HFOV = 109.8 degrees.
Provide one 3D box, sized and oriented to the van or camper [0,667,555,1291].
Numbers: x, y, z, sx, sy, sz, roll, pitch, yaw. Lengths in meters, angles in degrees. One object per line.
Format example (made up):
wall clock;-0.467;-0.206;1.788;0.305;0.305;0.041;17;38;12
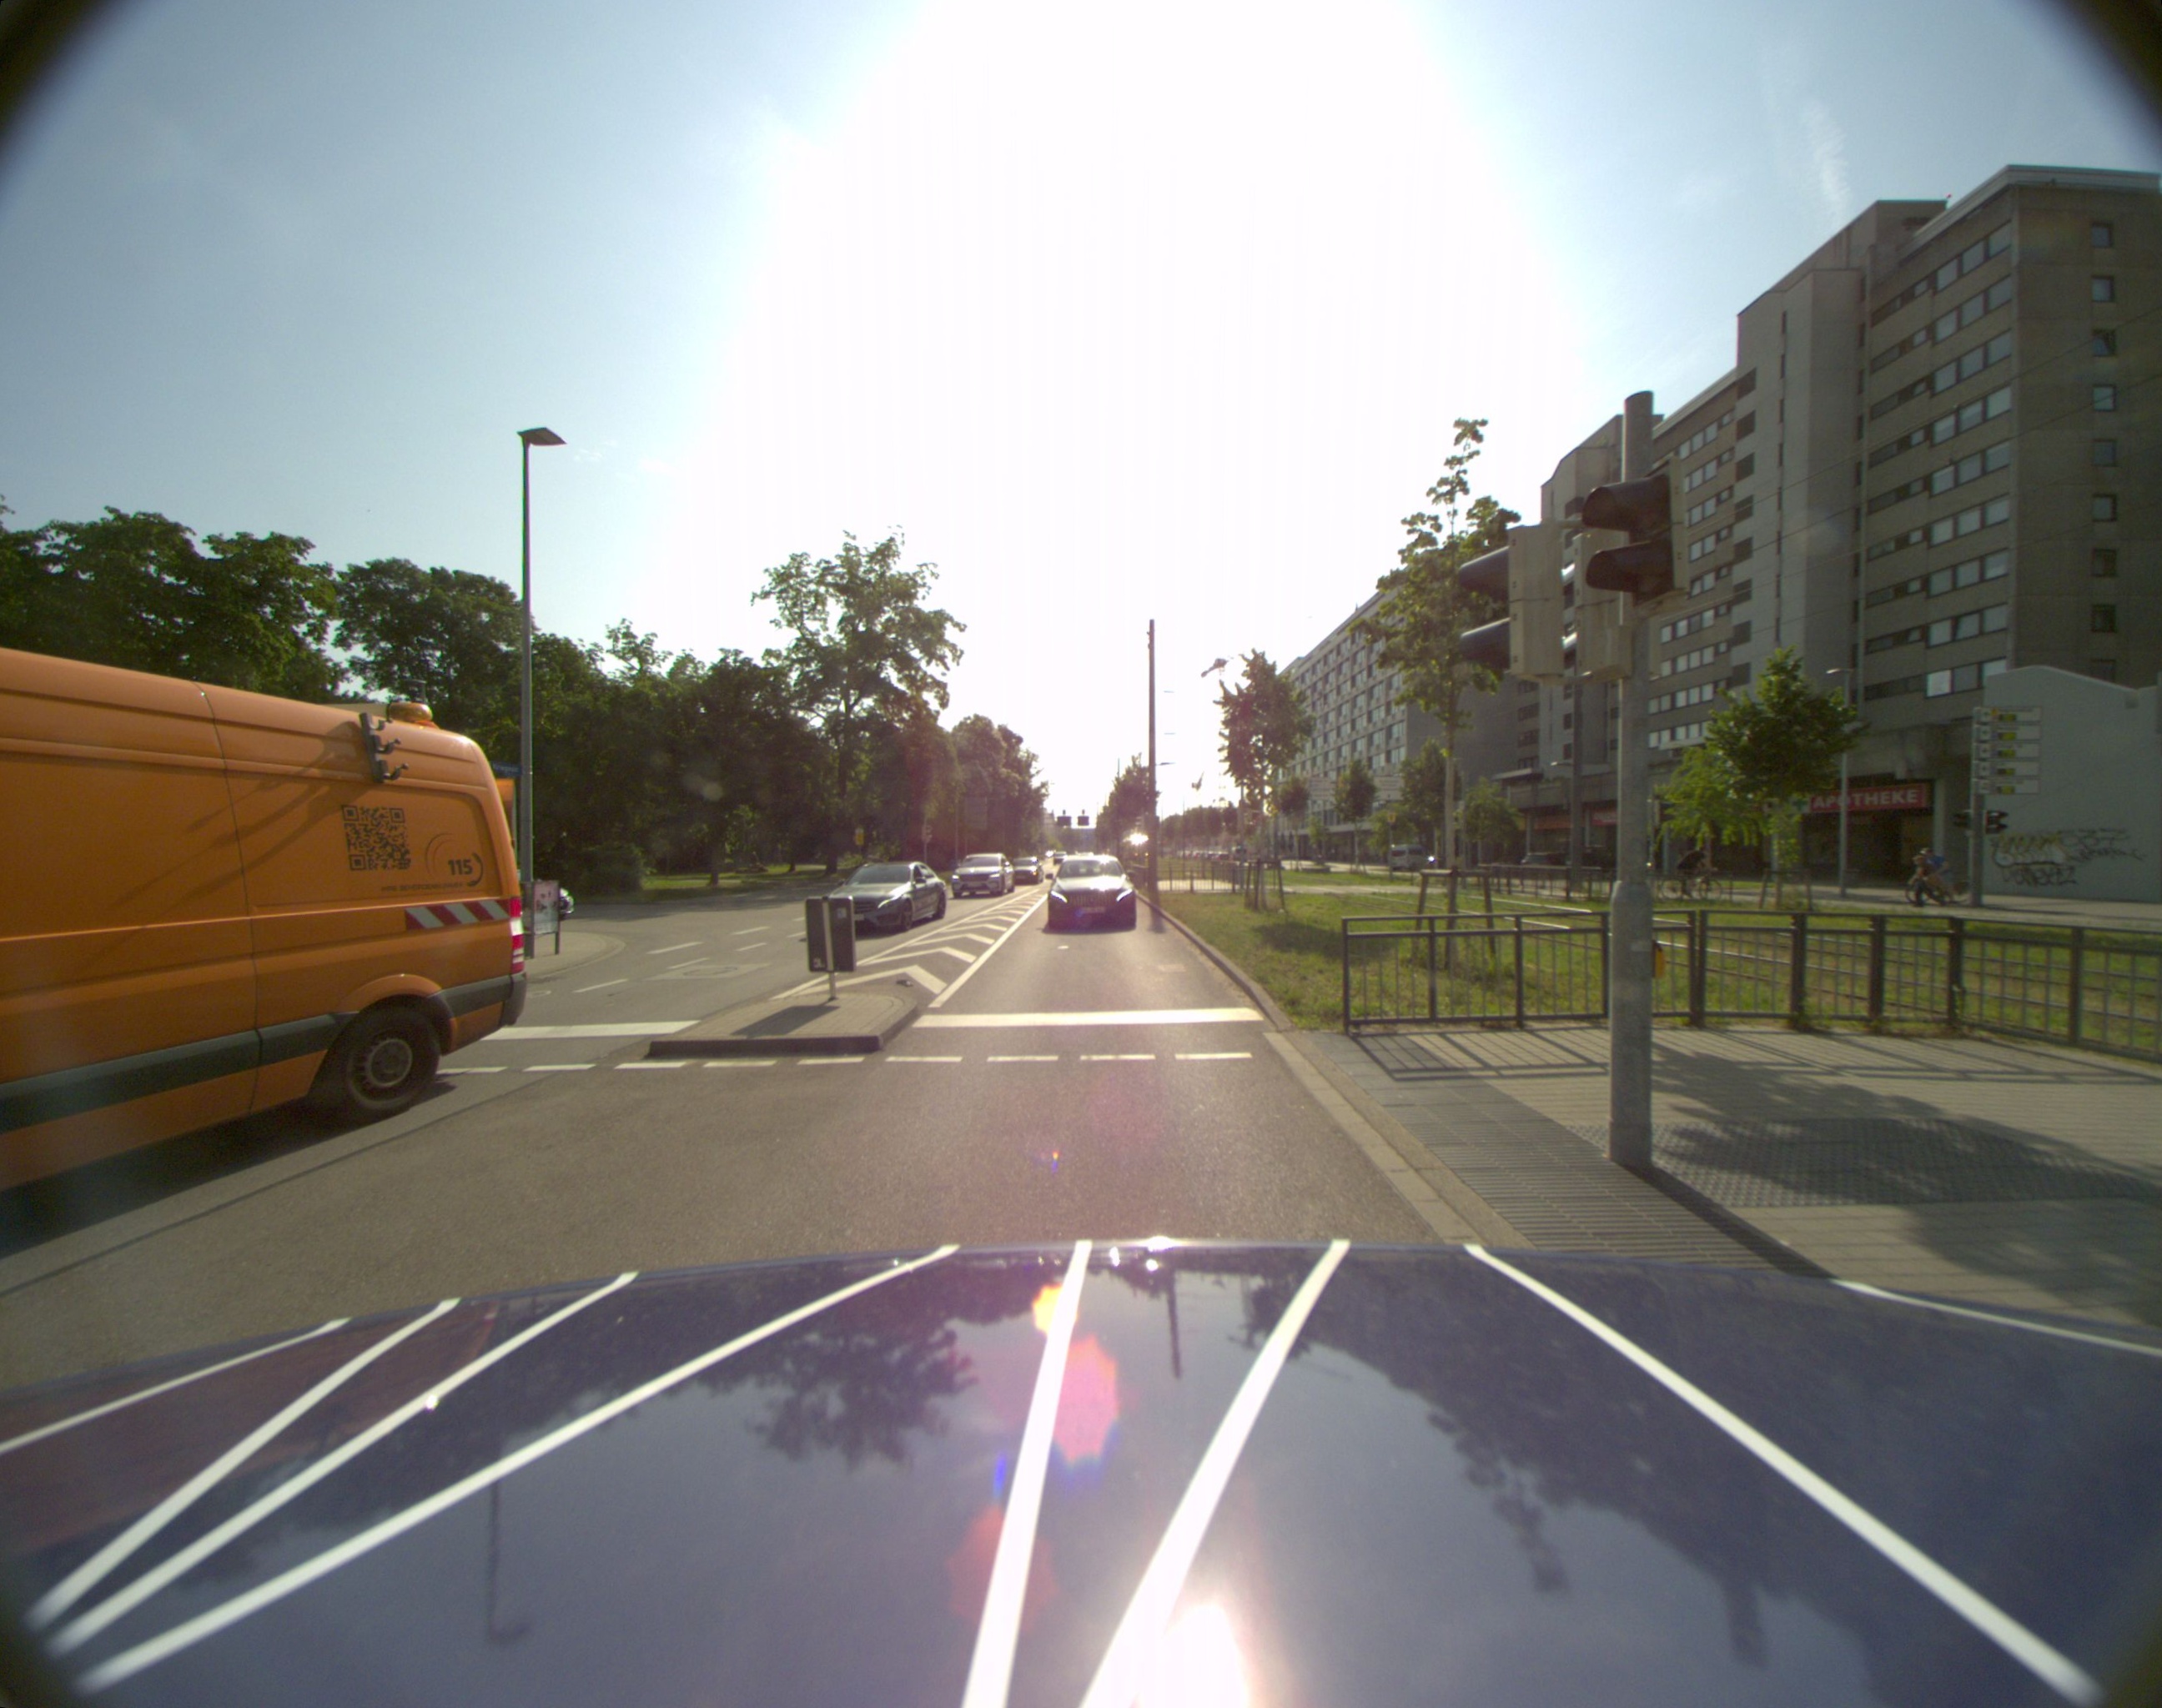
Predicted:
van or camper;-5.267;0.517;2.956;1.991;2.457;6.061;-2;0;2

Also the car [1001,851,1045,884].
car;-3.030;0.661;40.444;1.998;1.630;3.999;0;1;0

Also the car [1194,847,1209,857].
car;18.159;-0.332;115.044;1.811;1.565;4.000;0;1;3

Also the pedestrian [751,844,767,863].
pedestrian;-31.561;-0.023;74.439;0.983;1.820;1.072;0;1;31

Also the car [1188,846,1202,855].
car;18.428;-0.581;122.841;1.811;1.466;4.000;0;1;3

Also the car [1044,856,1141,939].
car;0.244;0.817;16.298;1.759;1.437;4.617;-1;1;1

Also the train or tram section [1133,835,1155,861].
train or tram section;8.498;-0.855;103.019;2.500;3.410;6.669;0;1;1

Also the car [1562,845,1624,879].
car;30.365;0.437;45.026;4.119;1.957;1.874;-1;1;-39

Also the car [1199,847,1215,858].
car;18.163;-0.247;109.567;1.811;1.565;4.000;0;1;3

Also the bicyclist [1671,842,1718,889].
bicyclist;18.904;0.359;23.431;0.971;1.387;0.547;3;0;21

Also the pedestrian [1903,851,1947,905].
pedestrian;26.818;0.757;24.152;0.660;1.681;0.645;0;1;3

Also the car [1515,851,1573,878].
car;29.560;0.650;48.490;4.119;1.597;1.874;-1;1;-39

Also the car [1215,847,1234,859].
car;17.929;-0.136;95.387;1.811;1.472;4.000;0;1;3

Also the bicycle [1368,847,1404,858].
bicycle;37.310;-0.172;93.001;3.994;1.358;1.127;0;1;10

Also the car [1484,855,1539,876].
car;29.552;0.800;52.073;4.119;1.237;1.874;-3;1;-39

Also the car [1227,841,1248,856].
car;23.699;-0.772;115.417;2.051;2.226;5.333;0;1;-1

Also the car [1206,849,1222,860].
car;18.034;0.038;103.188;1.745;1.478;3.641;0;1;3

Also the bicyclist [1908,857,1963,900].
bicyclist;28.881;0.816;25.681;1.023;1.432;0.686;0;1;6

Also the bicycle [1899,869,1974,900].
bicycle;28.893;1.025;25.686;1.665;0.985;0.685;0;1;5

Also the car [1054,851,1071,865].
car;-2.208;0.435;91.162;1.904;1.585;4.000;0;0;0

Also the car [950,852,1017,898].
car;-3.652;0.732;29.184;1.897;1.561;4.250;-1;1;1

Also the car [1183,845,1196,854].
car;18.509;-0.735;129.607;1.787;1.516;4.000;0;1;1

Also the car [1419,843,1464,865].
car;29.333;-0.003;61.788;2.097;1.573;4.008;-2;0;44

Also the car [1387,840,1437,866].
car;29.901;-0.132;68.557;5.419;2.295;1.879;-1;1;-40

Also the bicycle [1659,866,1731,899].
bicycle;18.903;0.861;23.419;1.609;0.929;0.558;3;0;21
